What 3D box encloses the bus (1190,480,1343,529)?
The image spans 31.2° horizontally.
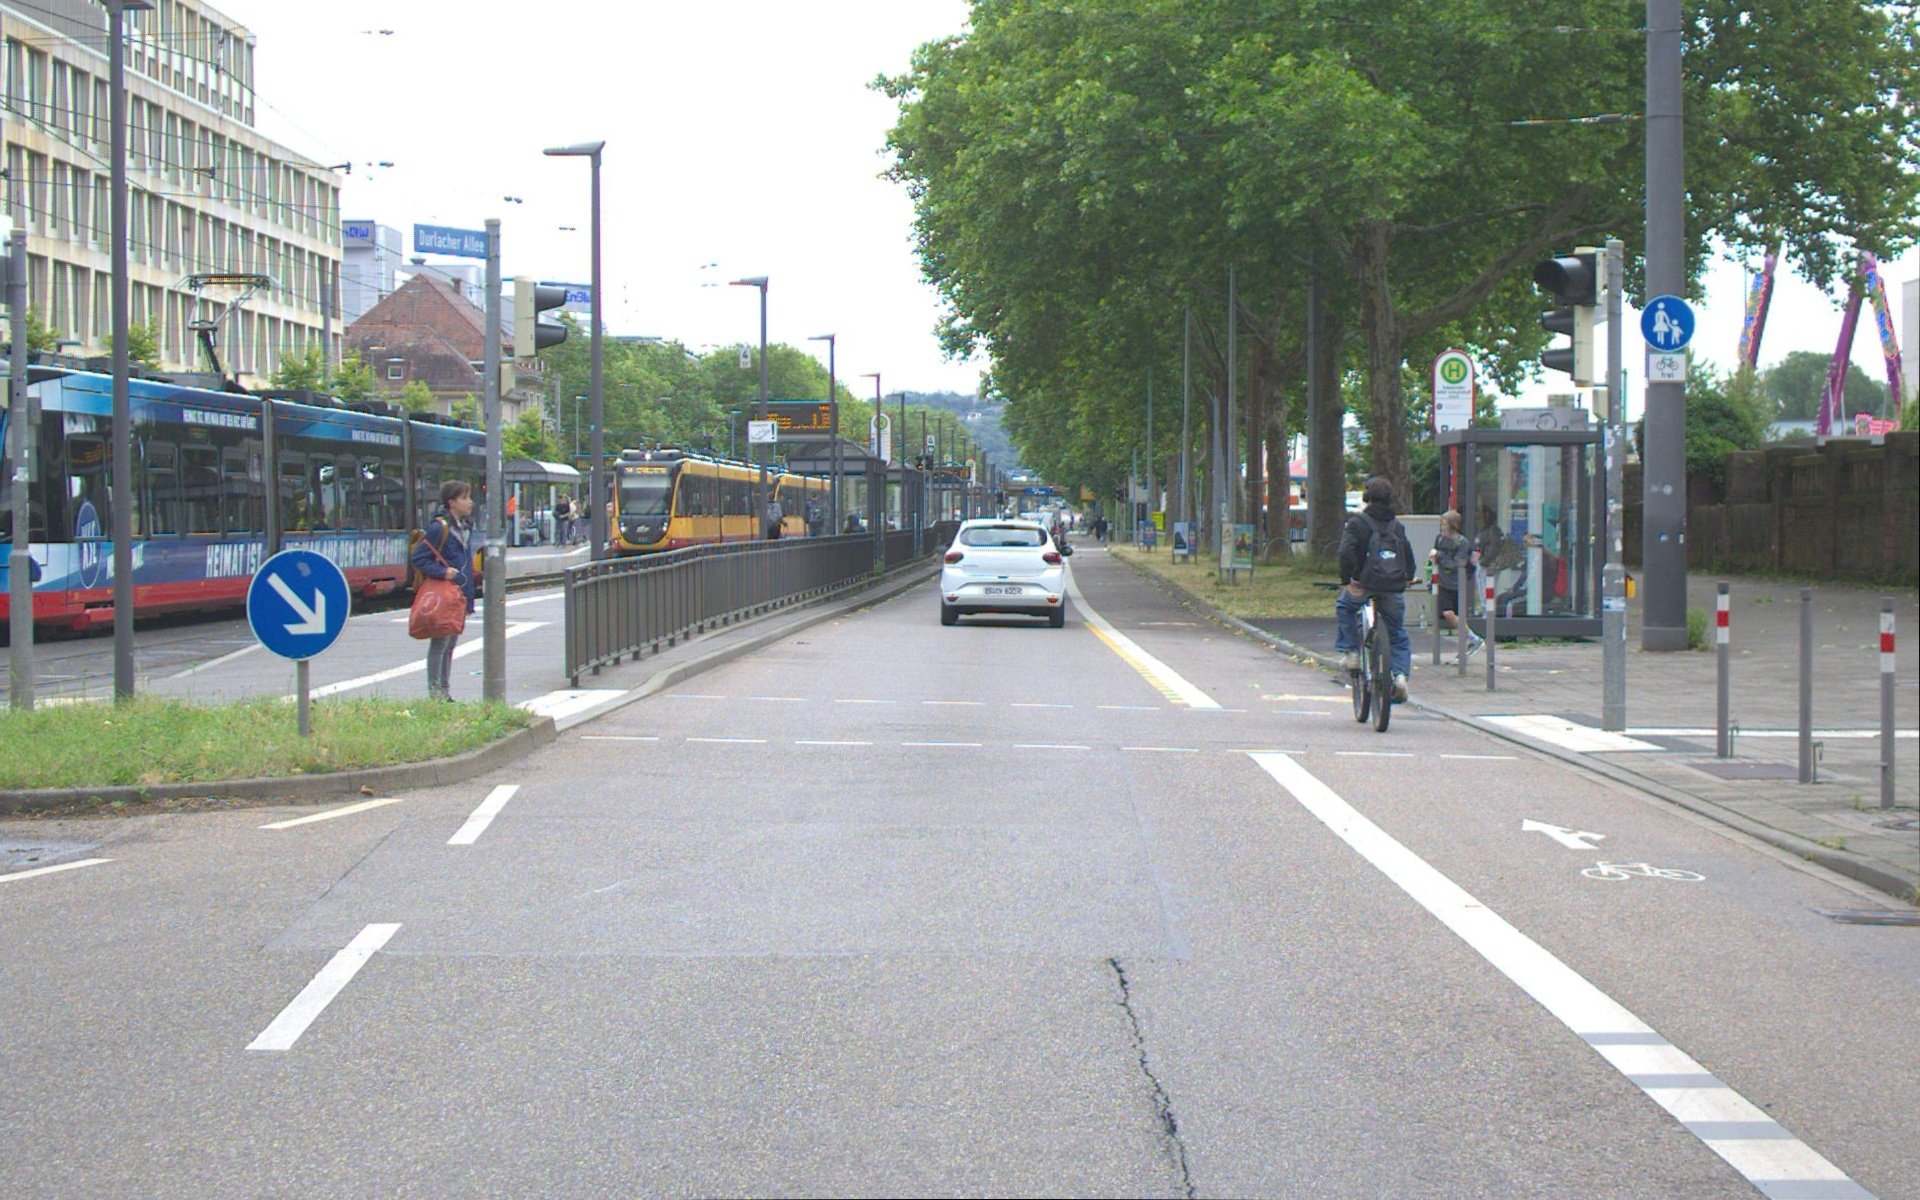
[{"bbox_3d":[19.018,-5.936,213.513,9.277,2.949,2.000,0,1,0],"label":"bus"}]

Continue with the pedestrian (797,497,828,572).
[{"bbox_3d":[-3.541,-1.574,82.575,0.670,1.787,1.113,0,1,-7],"label":"pedestrian"}]

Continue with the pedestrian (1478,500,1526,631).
[{"bbox_3d":[6.485,-0.414,41.171,0.476,1.558,0.702,0,1,1],"label":"pedestrian"}]

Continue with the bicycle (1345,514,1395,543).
[{"bbox_3d":[16.265,-2.824,136.369,1.900,1.093,0.550,-2,1,0],"label":"bicycle"}]

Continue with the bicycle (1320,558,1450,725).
[{"bbox_3d":[3.055,0.275,24.887,0.652,1.146,2.283,0,1,0],"label":"bicycle"}]

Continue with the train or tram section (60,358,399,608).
[{"bbox_3d":[-11.569,-1.782,55.793,2.854,3.628,11.700,0,1,1],"label":"train or tram section"}]

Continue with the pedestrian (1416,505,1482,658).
[{"bbox_3d":[4.939,-0.190,34.688,0.552,1.523,0.638,0,1,19],"label":"pedestrian"}]

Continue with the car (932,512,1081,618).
[{"bbox_3d":[0.704,-0.505,49.207,1.885,1.448,4.000,0,1,4],"label":"car"}]

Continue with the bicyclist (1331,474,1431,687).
[{"bbox_3d":[3.052,-0.147,24.987,0.641,1.525,0.665,0,1,0],"label":"bicyclist"}]

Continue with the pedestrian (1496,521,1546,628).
[{"bbox_3d":[6.517,-0.295,39.927,0.476,1.230,0.702,0,1,1],"label":"pedestrian"}]

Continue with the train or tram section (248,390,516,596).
[{"bbox_3d":[-11.238,-2.007,68.405,2.854,3.679,13.521,0,1,1],"label":"train or tram section"}]

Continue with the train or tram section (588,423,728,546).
[{"bbox_3d":[-9.920,-3.725,114.136,3.237,3.848,11.311,0,1,2],"label":"train or tram section"}]

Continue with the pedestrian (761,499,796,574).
[{"bbox_3d":[-4.311,-1.510,81.713,0.670,1.787,1.113,0,1,-11],"label":"pedestrian"}]

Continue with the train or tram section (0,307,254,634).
[{"bbox_3d":[-11.773,-1.513,44.094,2.854,3.628,11.766,0,1,1],"label":"train or tram section"}]

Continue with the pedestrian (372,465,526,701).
[{"bbox_3d":[-3.620,-0.123,24.346,0.858,1.637,0.653,-1,1,-40],"label":"pedestrian"}]

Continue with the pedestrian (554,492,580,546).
[{"bbox_3d":[-13.012,-2.683,113.761,0.711,1.789,1.160,0,1,1],"label":"pedestrian"}]

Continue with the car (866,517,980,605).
[{"bbox_3d":[-0.655,-0.742,63.381,1.841,1.546,4.000,0,1,3],"label":"car"}]

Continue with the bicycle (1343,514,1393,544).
[{"bbox_3d":[16.104,-2.799,135.626,1.890,1.101,0.550,-2,1,0],"label":"bicycle"}]

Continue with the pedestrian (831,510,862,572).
[{"bbox_3d":[-2.459,-1.278,74.516,0.610,1.336,0.600,0,1,2],"label":"pedestrian"}]
